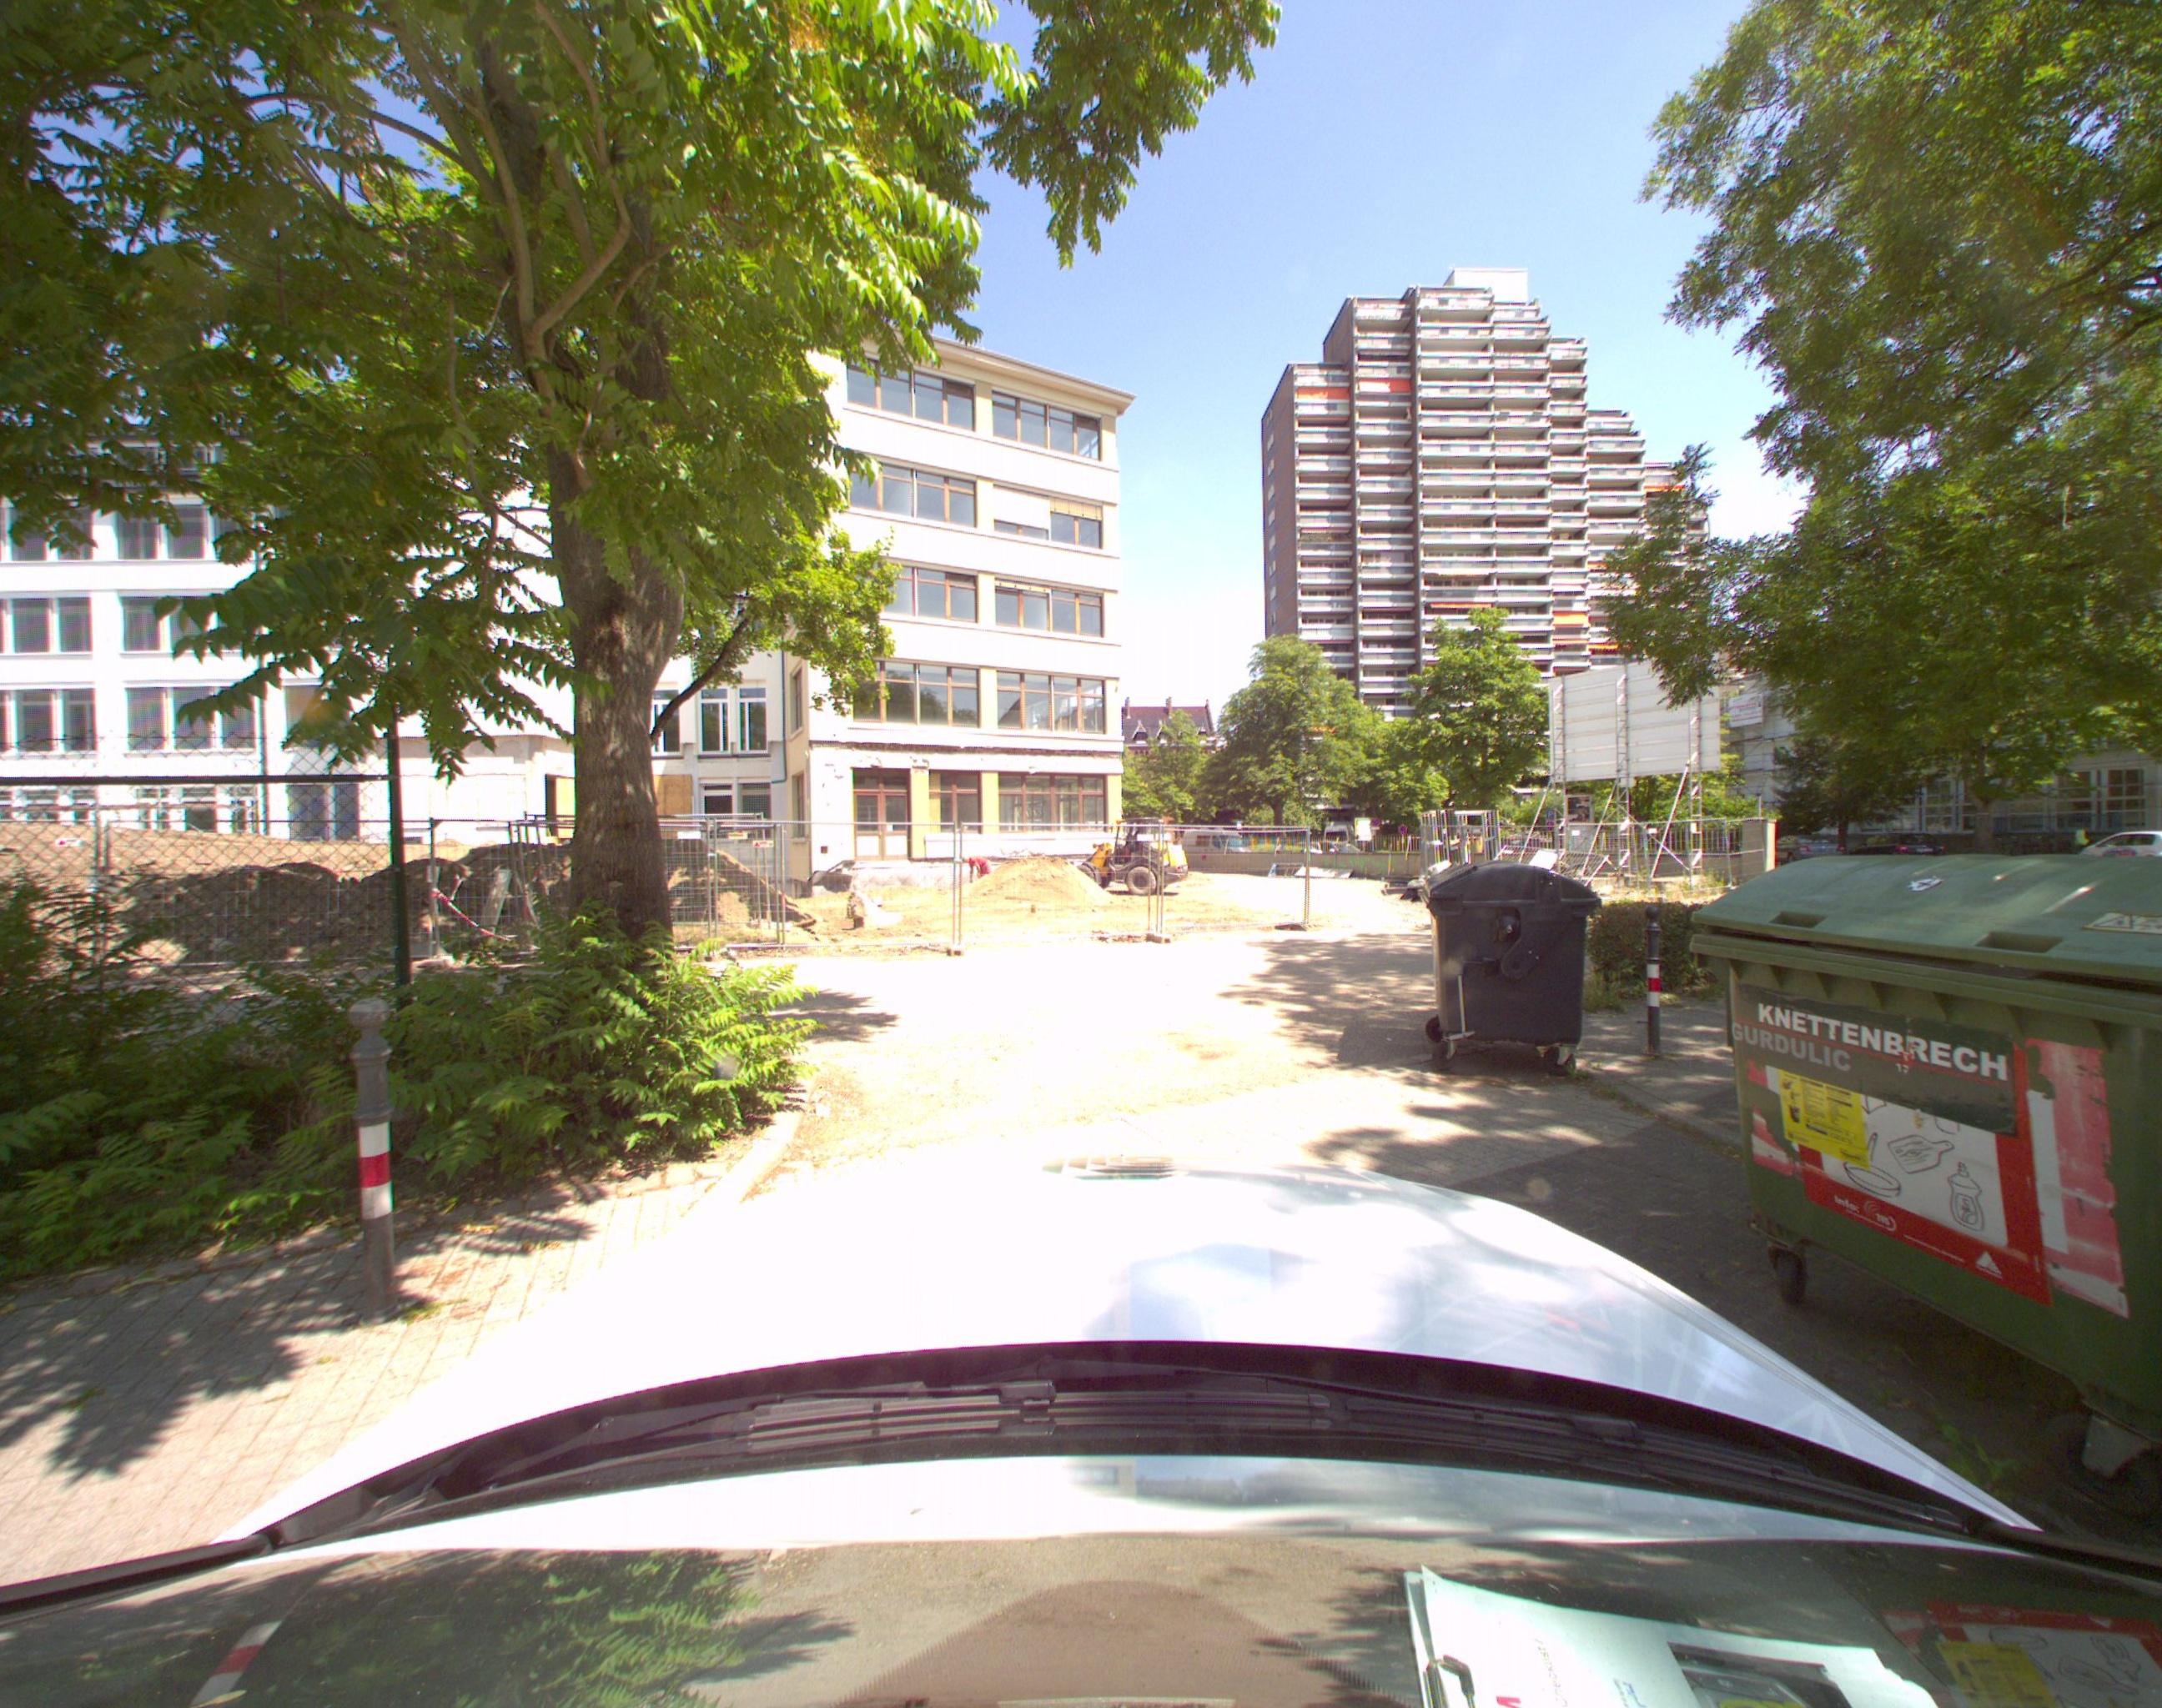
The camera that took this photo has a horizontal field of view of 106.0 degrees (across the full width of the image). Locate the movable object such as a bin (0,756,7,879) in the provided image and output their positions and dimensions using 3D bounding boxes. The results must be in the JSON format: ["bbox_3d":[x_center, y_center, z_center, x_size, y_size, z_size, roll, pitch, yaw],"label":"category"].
[{"bbox_3d":[-41.225,-1.244,28.194,5.679,4.372,2.002,-1,0,4],"label":"movable object such as a bin"}]

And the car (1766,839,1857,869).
[{"bbox_3d":[33.533,-0.013,37.518,1.897,1.310,3.952,-1,0,22],"label":"car"}]

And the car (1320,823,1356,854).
[{"bbox_3d":[19.958,-1.164,63.106,2.165,2.258,4.895,-1,0,22],"label":"car"}]

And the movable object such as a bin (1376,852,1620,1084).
[{"bbox_3d":[2.920,0.730,5.906,1.071,1.458,1.377,-1,0,1],"label":"movable object such as a bin"}]

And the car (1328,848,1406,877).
[{"bbox_3d":[14.272,0.406,40.609,3.735,1.320,1.599,-1,0,-29],"label":"car"}]

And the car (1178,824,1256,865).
[{"bbox_3d":[8.466,-0.583,51.153,2.005,2.416,5.195,-1,0,-28],"label":"car"}]

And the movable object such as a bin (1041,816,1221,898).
[{"bbox_3d":[1.634,0.029,26.672,5.355,2.464,2.381,1,1,24],"label":"movable object such as a bin"}]

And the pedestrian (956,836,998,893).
[{"bbox_3d":[-3.480,0.333,27.262,0.992,1.847,0.906,-1,0,-43],"label":"pedestrian"}]

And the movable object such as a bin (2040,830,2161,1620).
[{"bbox_3d":[2.501,0.677,0.978,1.071,1.458,1.377,-1,0,1],"label":"movable object such as a bin"}]

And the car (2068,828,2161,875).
[{"bbox_3d":[38.363,-0.112,29.389,1.651,1.589,3.708,-1,0,16],"label":"car"}]

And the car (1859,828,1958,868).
[{"bbox_3d":[35.339,-0.264,34.917,1.992,1.629,3.955,-1,0,31],"label":"car"}]

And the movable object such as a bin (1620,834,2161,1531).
[{"bbox_3d":[2.579,0.683,2.399,1.071,1.458,1.377,-1,0,1],"label":"movable object such as a bin"}]
